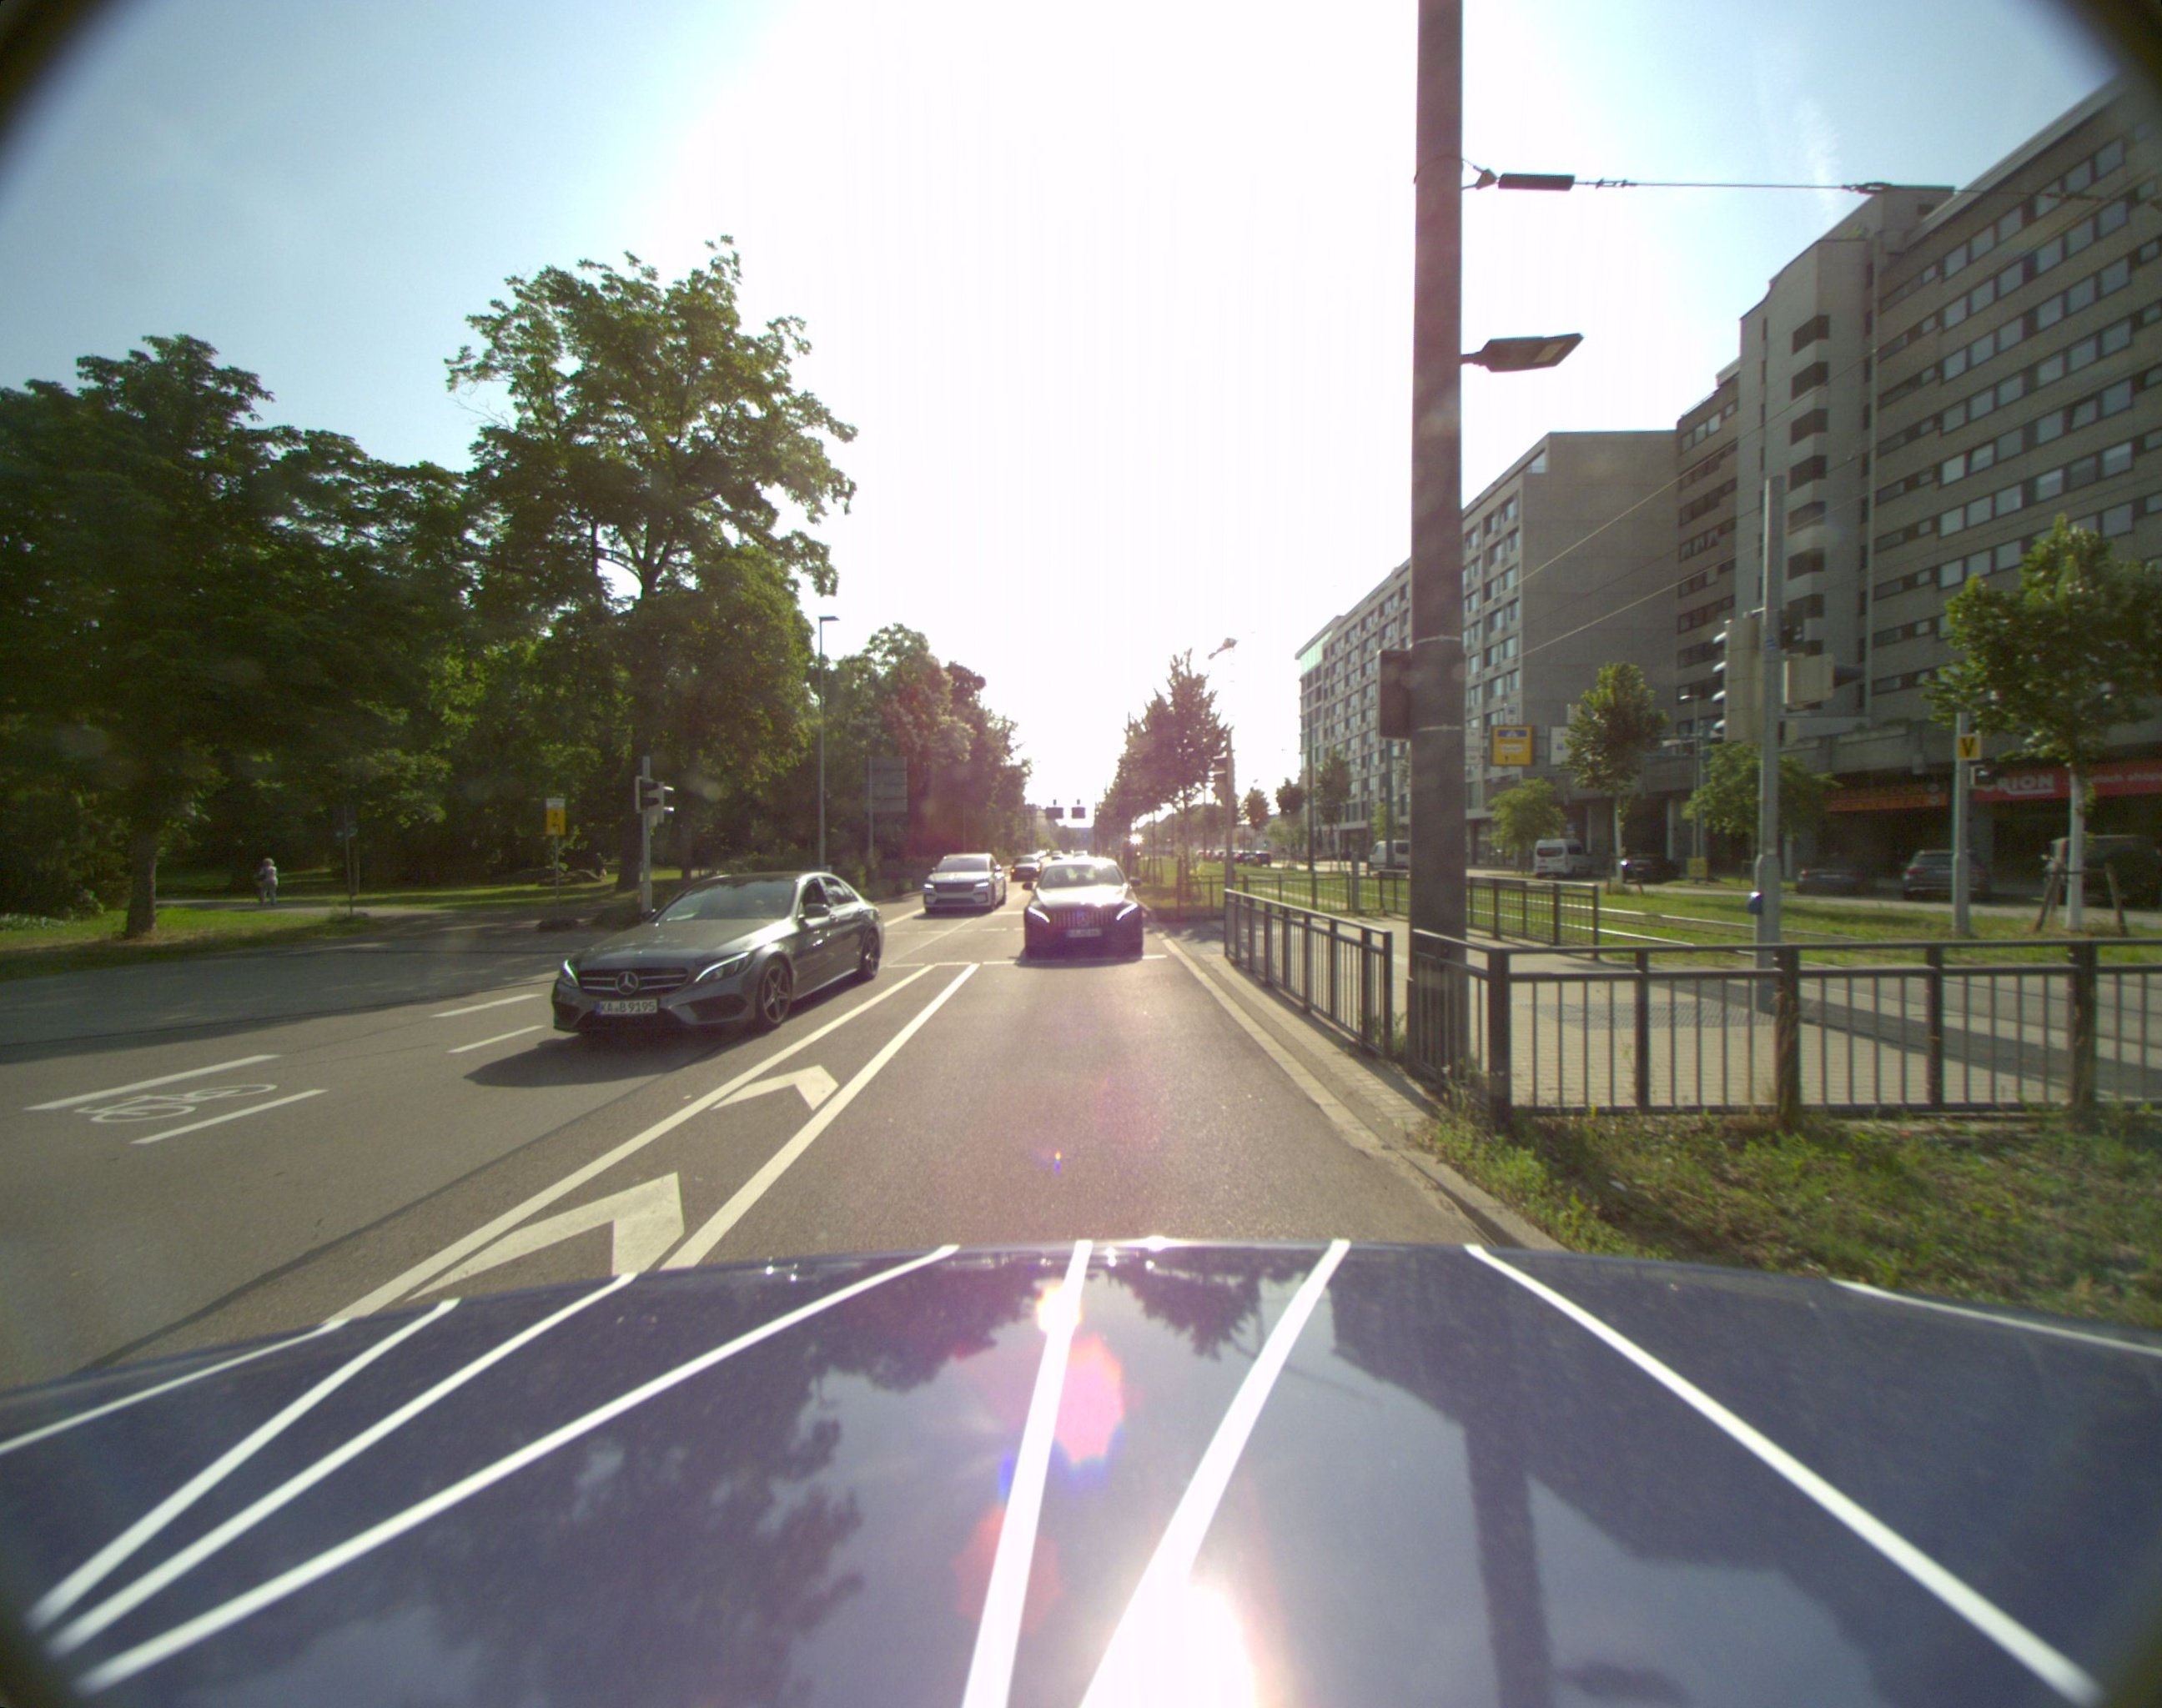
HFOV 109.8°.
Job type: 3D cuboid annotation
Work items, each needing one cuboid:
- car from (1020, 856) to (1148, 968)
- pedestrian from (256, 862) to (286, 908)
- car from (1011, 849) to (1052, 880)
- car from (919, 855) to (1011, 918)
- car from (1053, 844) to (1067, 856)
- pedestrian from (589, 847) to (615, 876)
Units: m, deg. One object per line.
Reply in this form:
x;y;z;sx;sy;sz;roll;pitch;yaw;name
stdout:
0.074;0.844;13.240;1.760;1.437;4.617;-4;1;1;car
-26.963;1.024;25.282;0.668;1.509;0.535;0;1;32;pedestrian
-2.682;0.538;42.418;1.998;1.630;3.999;0;1;0;car
-3.221;0.851;21.980;1.897;1.561;4.250;-2;1;1;car
-3.016;-0.579;110.299;1.905;1.585;3.999;0;1;0;car
-31.315;0.469;49.667;0.983;1.820;1.072;0;1;30;pedestrian
